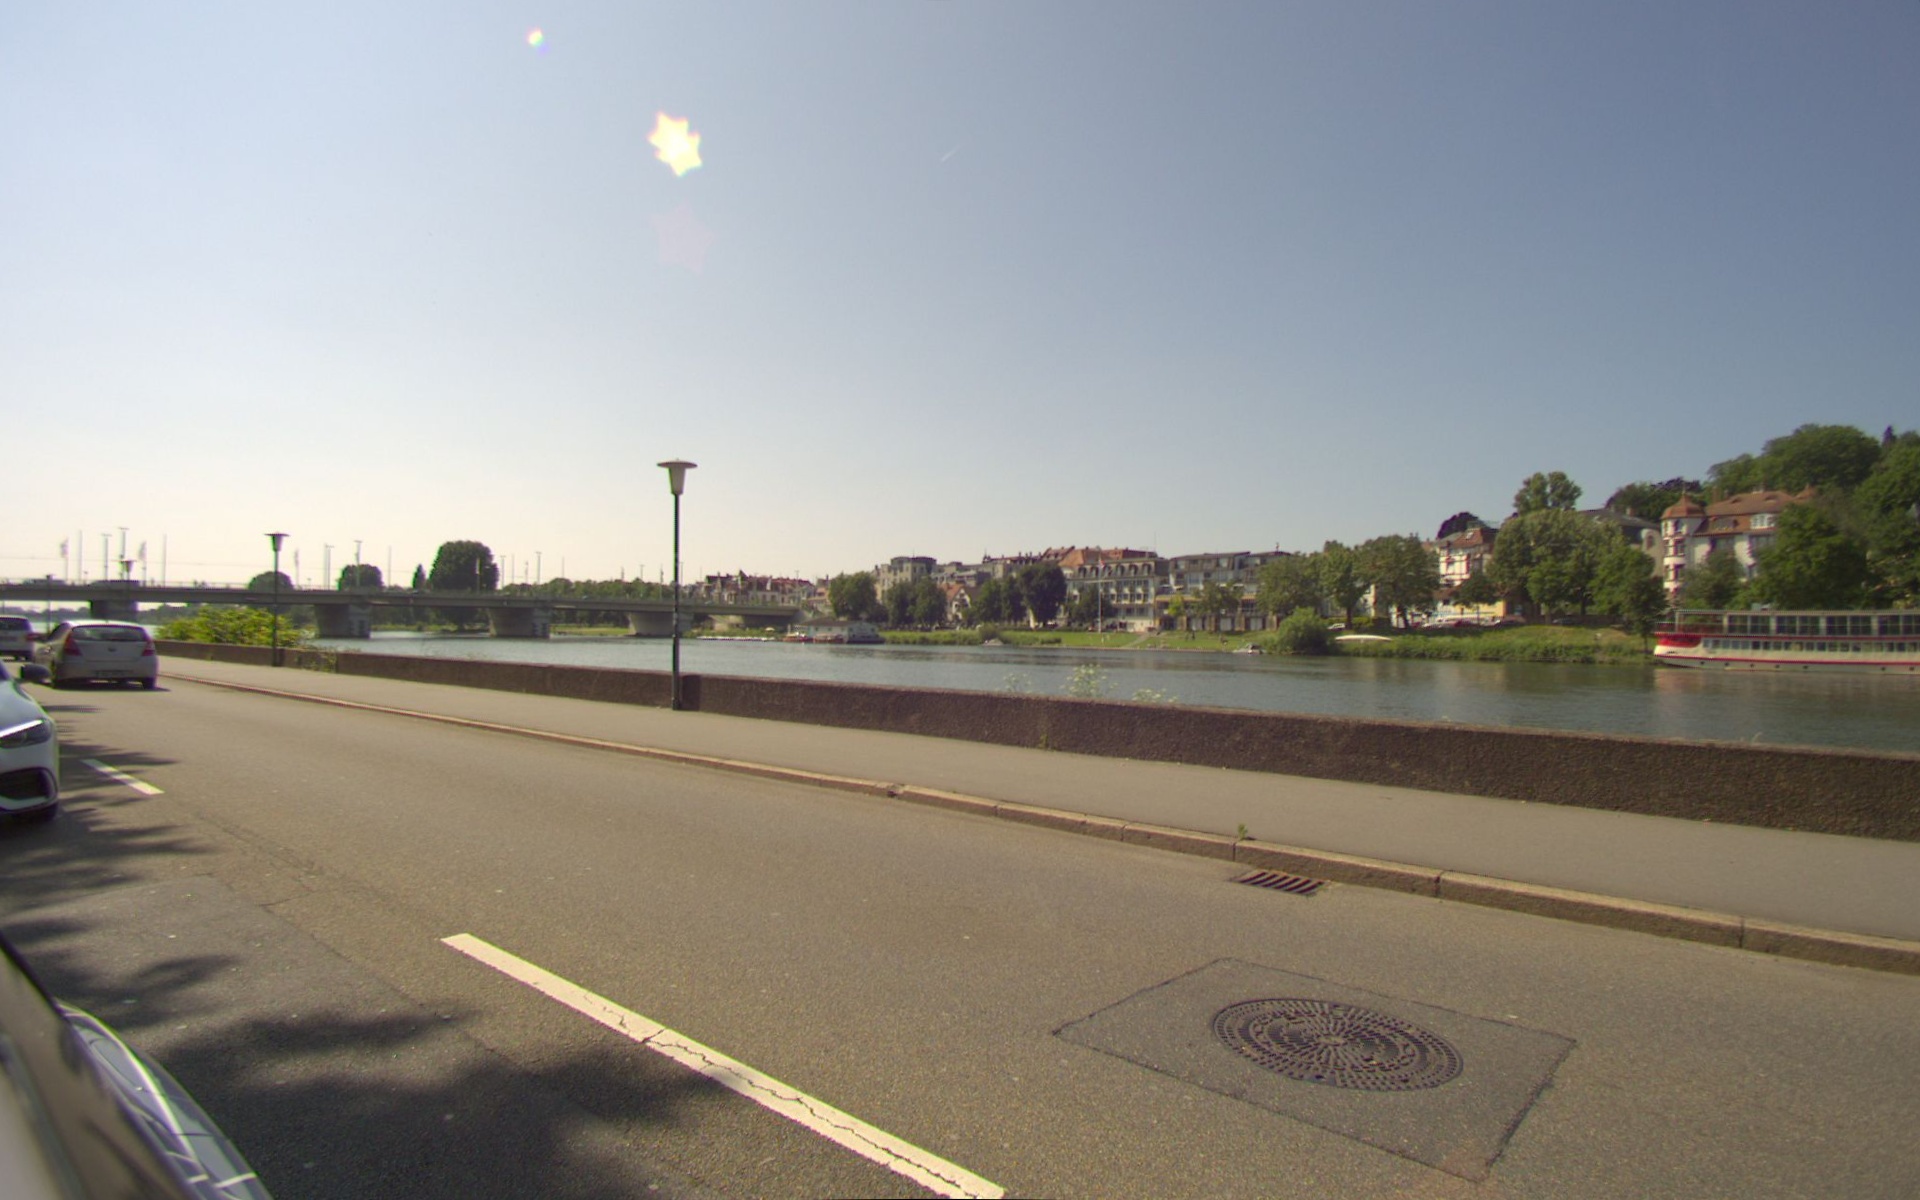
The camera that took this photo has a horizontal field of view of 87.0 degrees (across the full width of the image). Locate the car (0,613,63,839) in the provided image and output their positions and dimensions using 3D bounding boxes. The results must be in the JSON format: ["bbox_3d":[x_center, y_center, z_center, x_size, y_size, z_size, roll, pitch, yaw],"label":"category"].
[{"bbox_3d":[-8.181,0.832,7.449,4.550,1.430,1.807,-1,-1,41],"label":"car"}]

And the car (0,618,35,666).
[{"bbox_3d":[-35.113,1.505,36.730,4.174,1.662,1.714,-1,-4,40],"label":"car"}]

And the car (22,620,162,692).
[{"bbox_3d":[-19.358,1.206,22.530,4.042,1.453,1.714,-1,-4,41],"label":"car"}]
